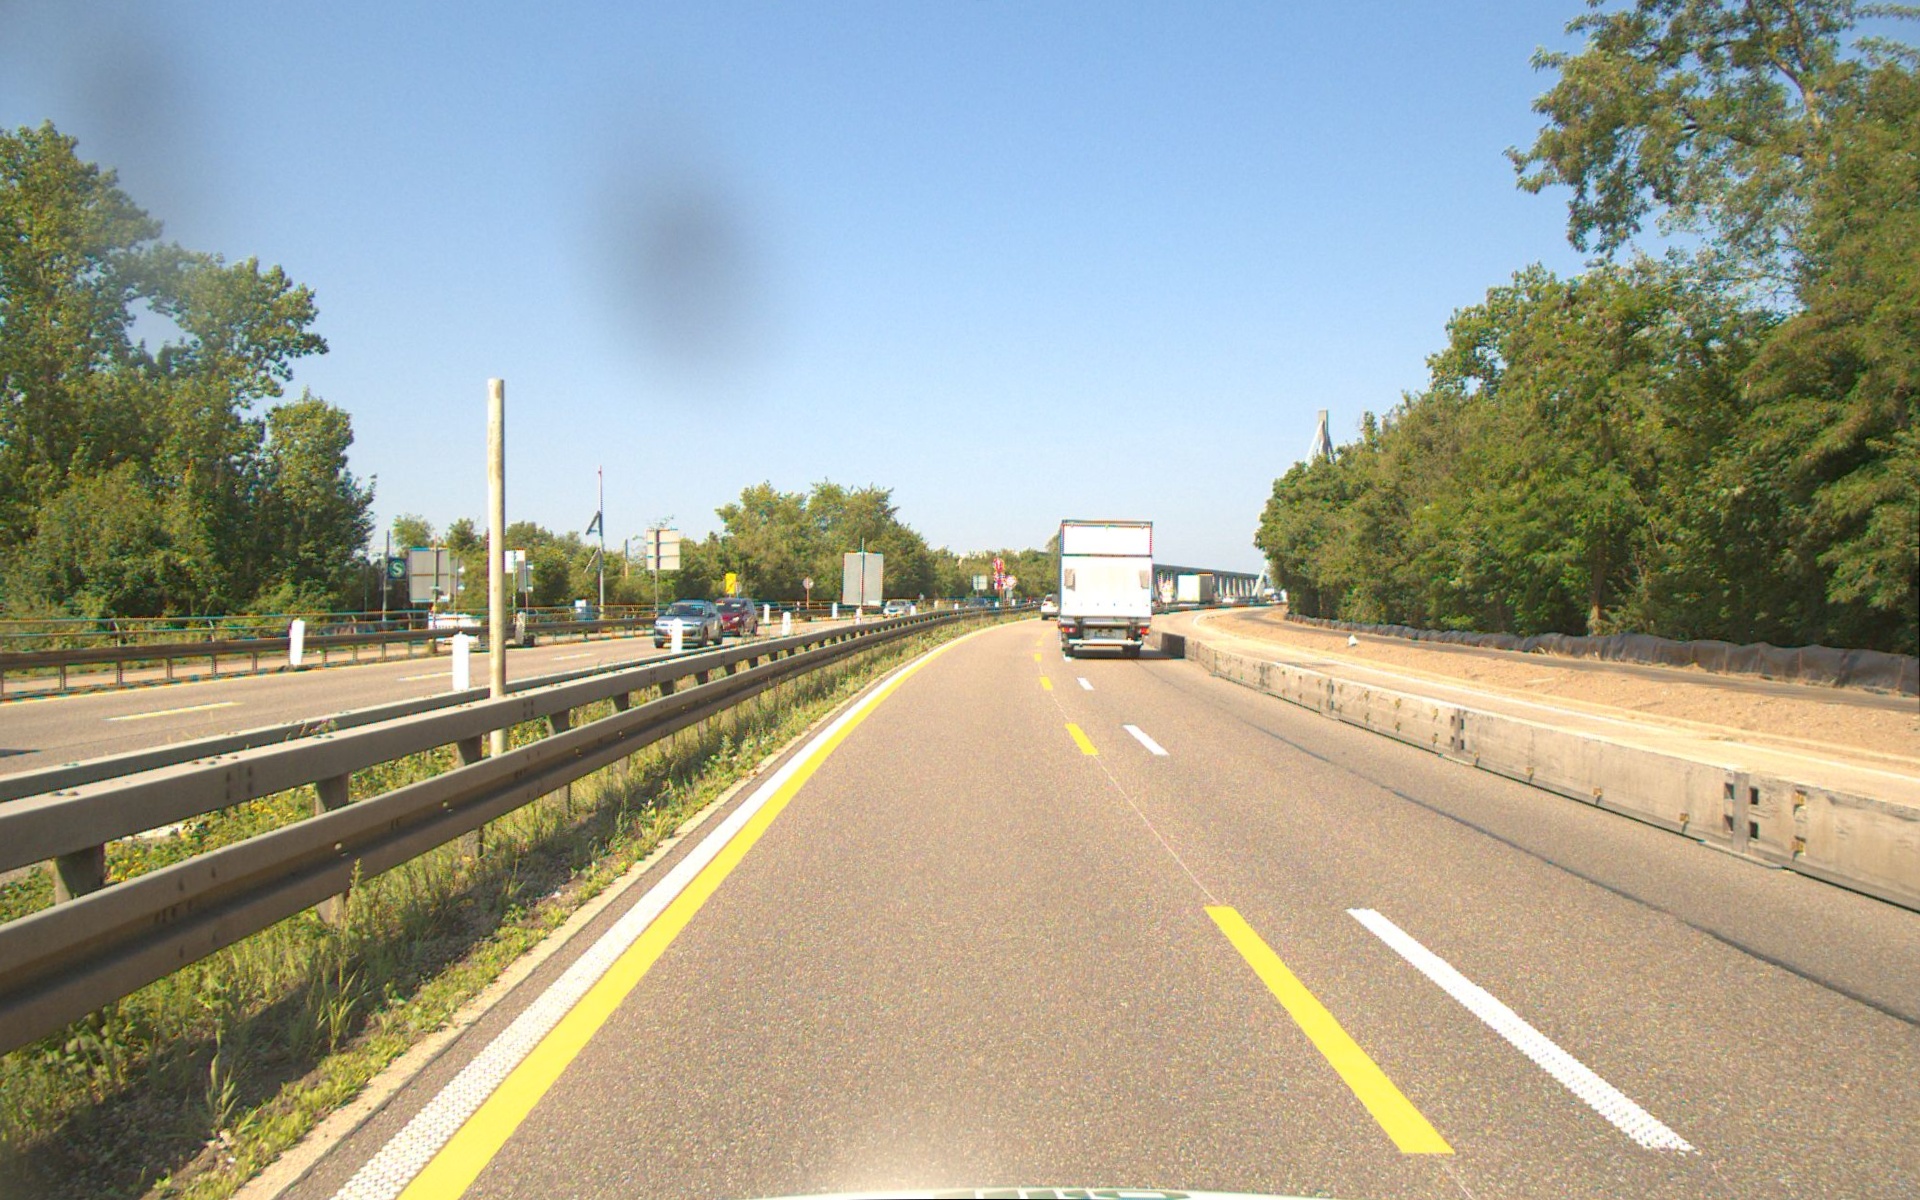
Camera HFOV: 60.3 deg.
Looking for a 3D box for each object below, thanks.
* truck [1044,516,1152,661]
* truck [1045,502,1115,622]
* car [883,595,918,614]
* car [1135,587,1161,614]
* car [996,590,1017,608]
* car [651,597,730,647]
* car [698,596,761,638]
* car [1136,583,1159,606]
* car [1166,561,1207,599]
[{"bbox_3d":[3.720,-0.316,44.067,2.578,3.487,7.238,1,0,5],"label":"truck"},{"bbox_3d":[4.874,-1.467,66.823,2.579,4.547,7.237,1,0,4],"label":"truck"},{"bbox_3d":[-4.708,0.357,131.504,1.844,1.445,4.863,-1,0,8],"label":"car"},{"bbox_3d":[15.334,0.017,134.901,1.951,2.048,4.003,-2,1,6],"label":"car"},{"bbox_3d":[4.232,-0.090,149.373,1.701,1.524,4.002,-1,0,5],"label":"car"},{"bbox_3d":[-9.786,0.781,60.383,1.869,1.680,4.378,-1,0,4],"label":"car"},{"bbox_3d":[-10.627,0.758,76.544,1.869,1.765,5.023,-1,0,4],"label":"car"},{"bbox_3d":[18.035,-0.528,158.982,1.951,2.048,4.004,-2,1,10],"label":"car"},{"bbox_3d":[27.294,-2.408,198.627,4.117,4.325,10.671,-2,1,11],"label":"car"}]
